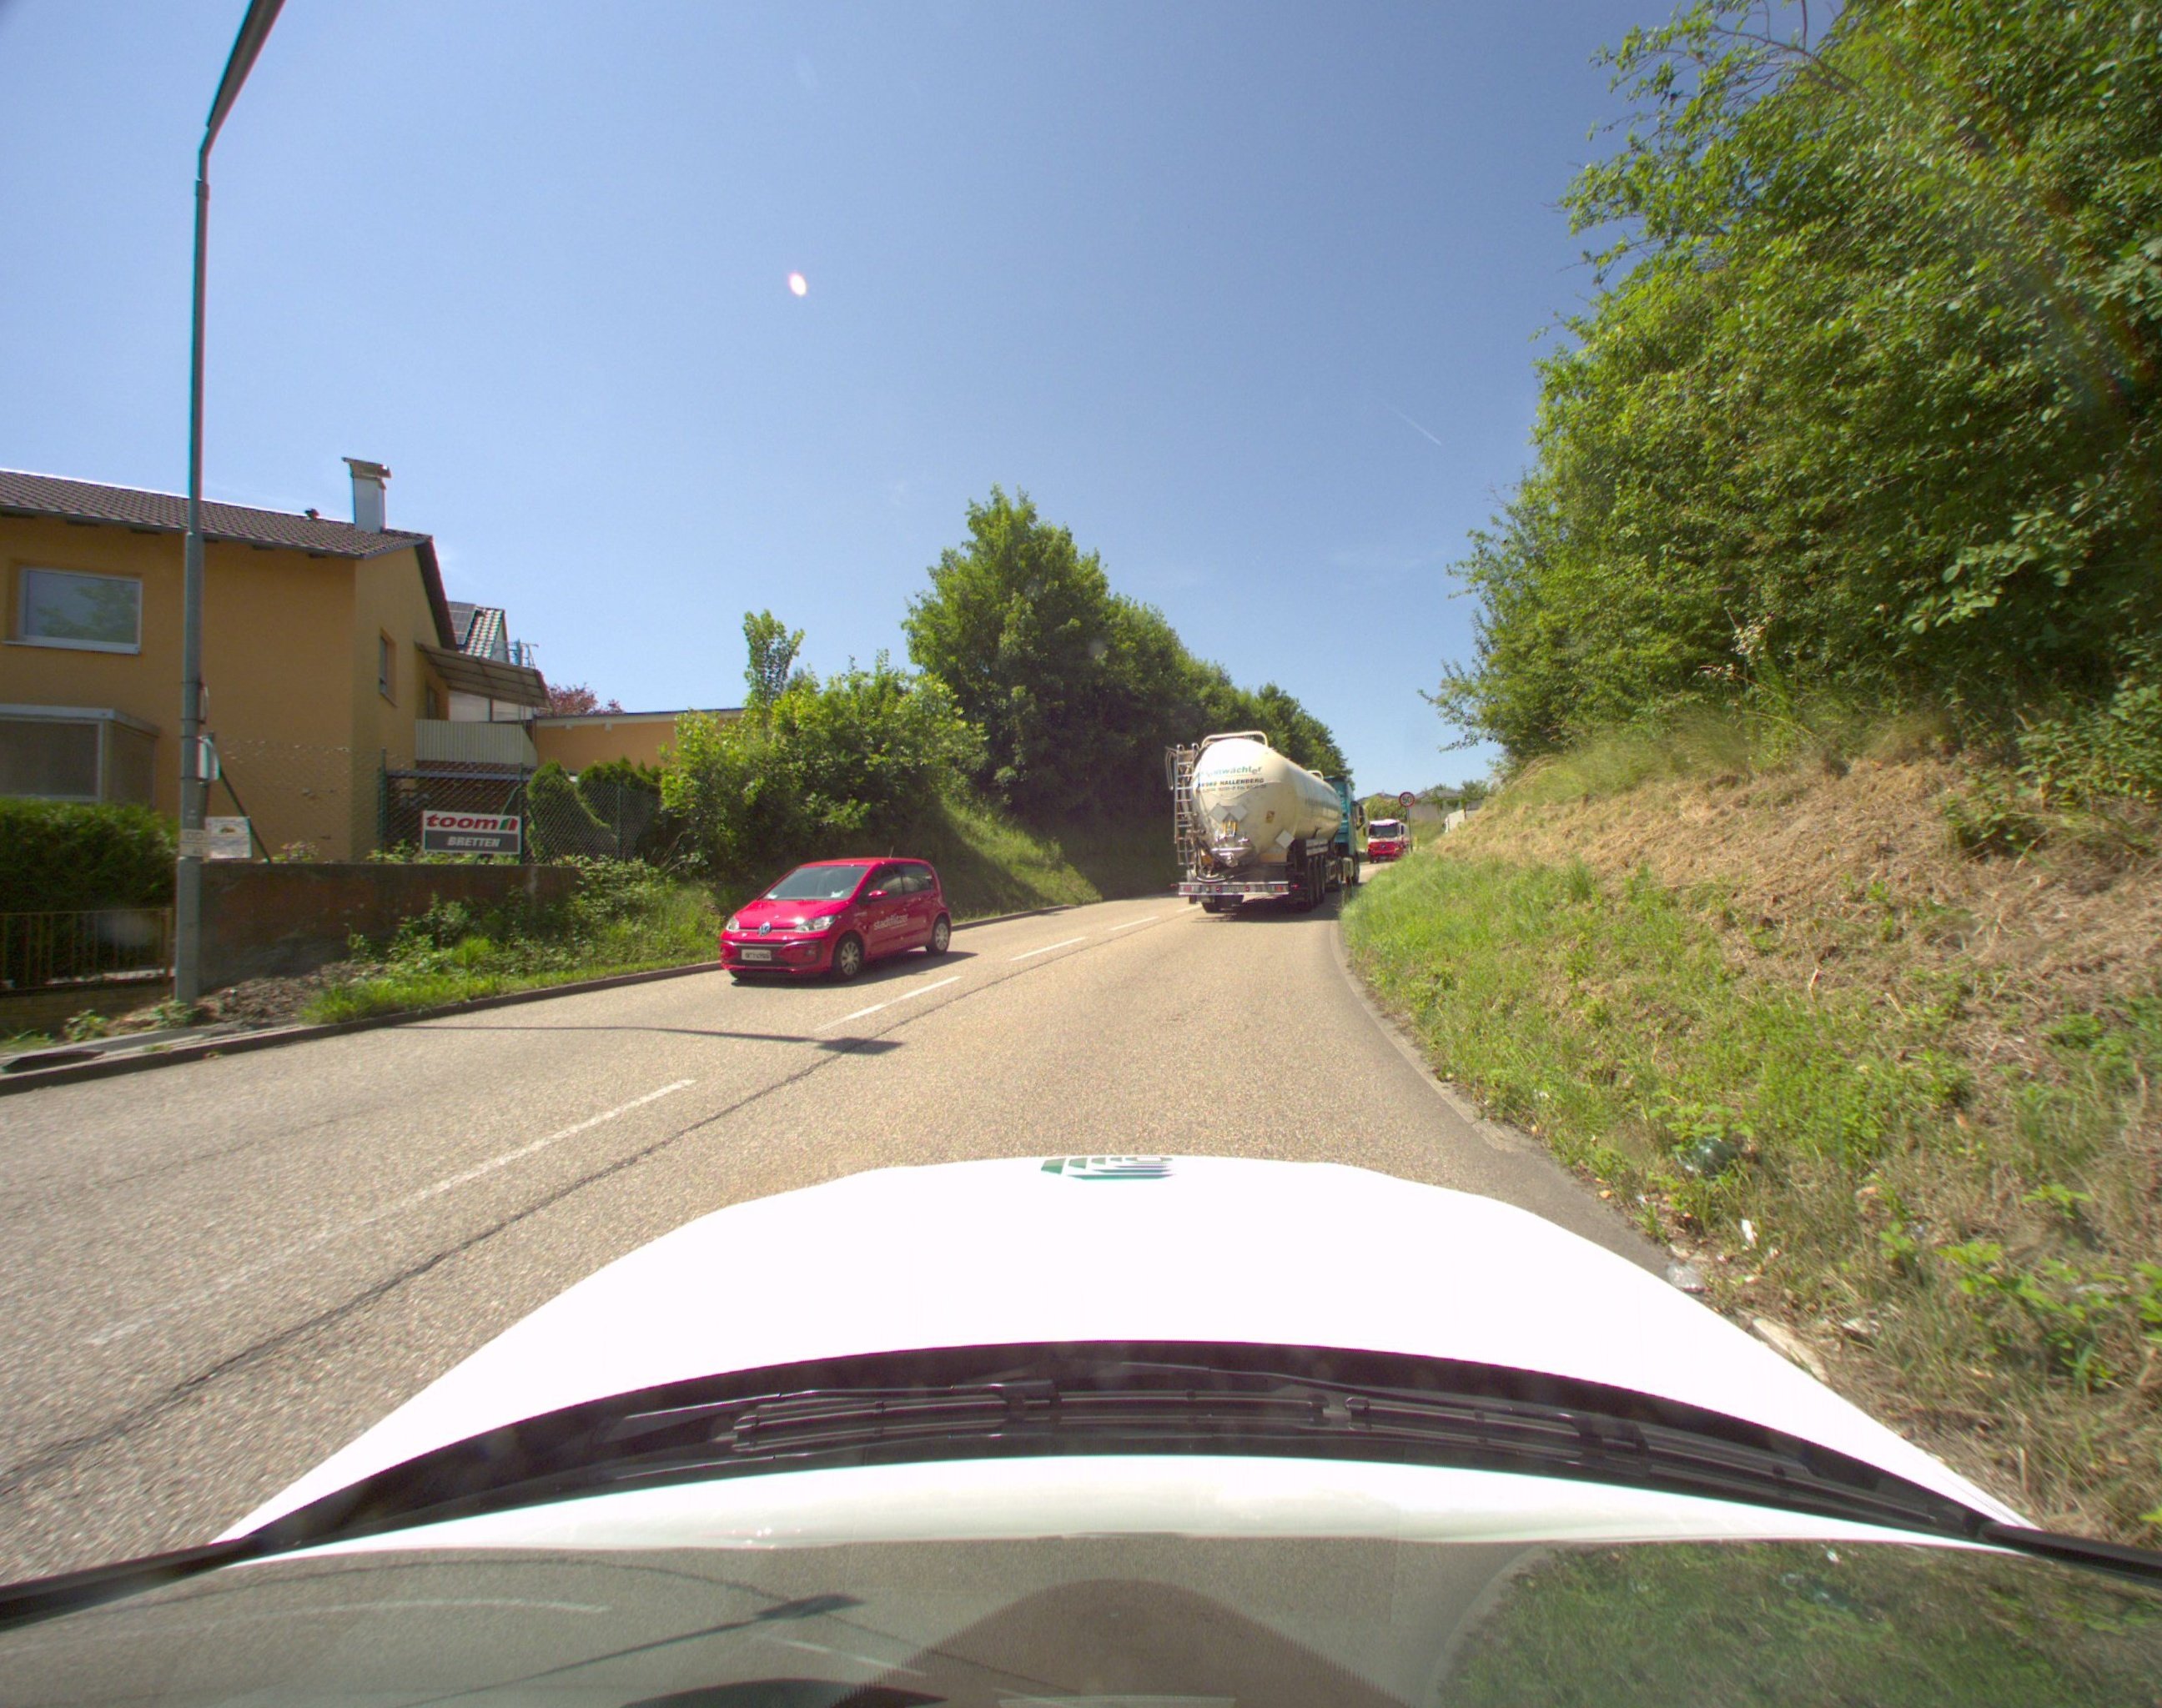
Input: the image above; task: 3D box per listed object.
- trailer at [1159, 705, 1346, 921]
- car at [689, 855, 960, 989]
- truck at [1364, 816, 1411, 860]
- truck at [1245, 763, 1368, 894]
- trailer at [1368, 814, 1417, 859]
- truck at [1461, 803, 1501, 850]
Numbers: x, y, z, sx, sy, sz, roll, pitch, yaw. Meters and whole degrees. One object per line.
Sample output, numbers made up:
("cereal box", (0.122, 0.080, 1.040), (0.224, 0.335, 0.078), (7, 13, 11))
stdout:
("trailer", (5.151, -0.861, 21.748), (2.638, 4.188, 11.969), (-2, 0, 22))
("car", (-3.214, 0.771, 10.983), (1.642, 1.458, 3.653), (-1, 0, 18))
("truck", (24.248, -1.237, 64.182), (2.601, 3.170, 7.110), (-3, 0, 27))
("truck", (8.101, -0.764, 28.551), (2.702, 3.930, 7.306), (-2, -1, 26))
("trailer", (26.195, -1.390, 68.089), (2.608, 3.373, 11.209), (-3, -1, 26))
("truck", (39.862, -2.689, 81.440), (3.161, 4.309, 11.869), (-2, 1, 25))
